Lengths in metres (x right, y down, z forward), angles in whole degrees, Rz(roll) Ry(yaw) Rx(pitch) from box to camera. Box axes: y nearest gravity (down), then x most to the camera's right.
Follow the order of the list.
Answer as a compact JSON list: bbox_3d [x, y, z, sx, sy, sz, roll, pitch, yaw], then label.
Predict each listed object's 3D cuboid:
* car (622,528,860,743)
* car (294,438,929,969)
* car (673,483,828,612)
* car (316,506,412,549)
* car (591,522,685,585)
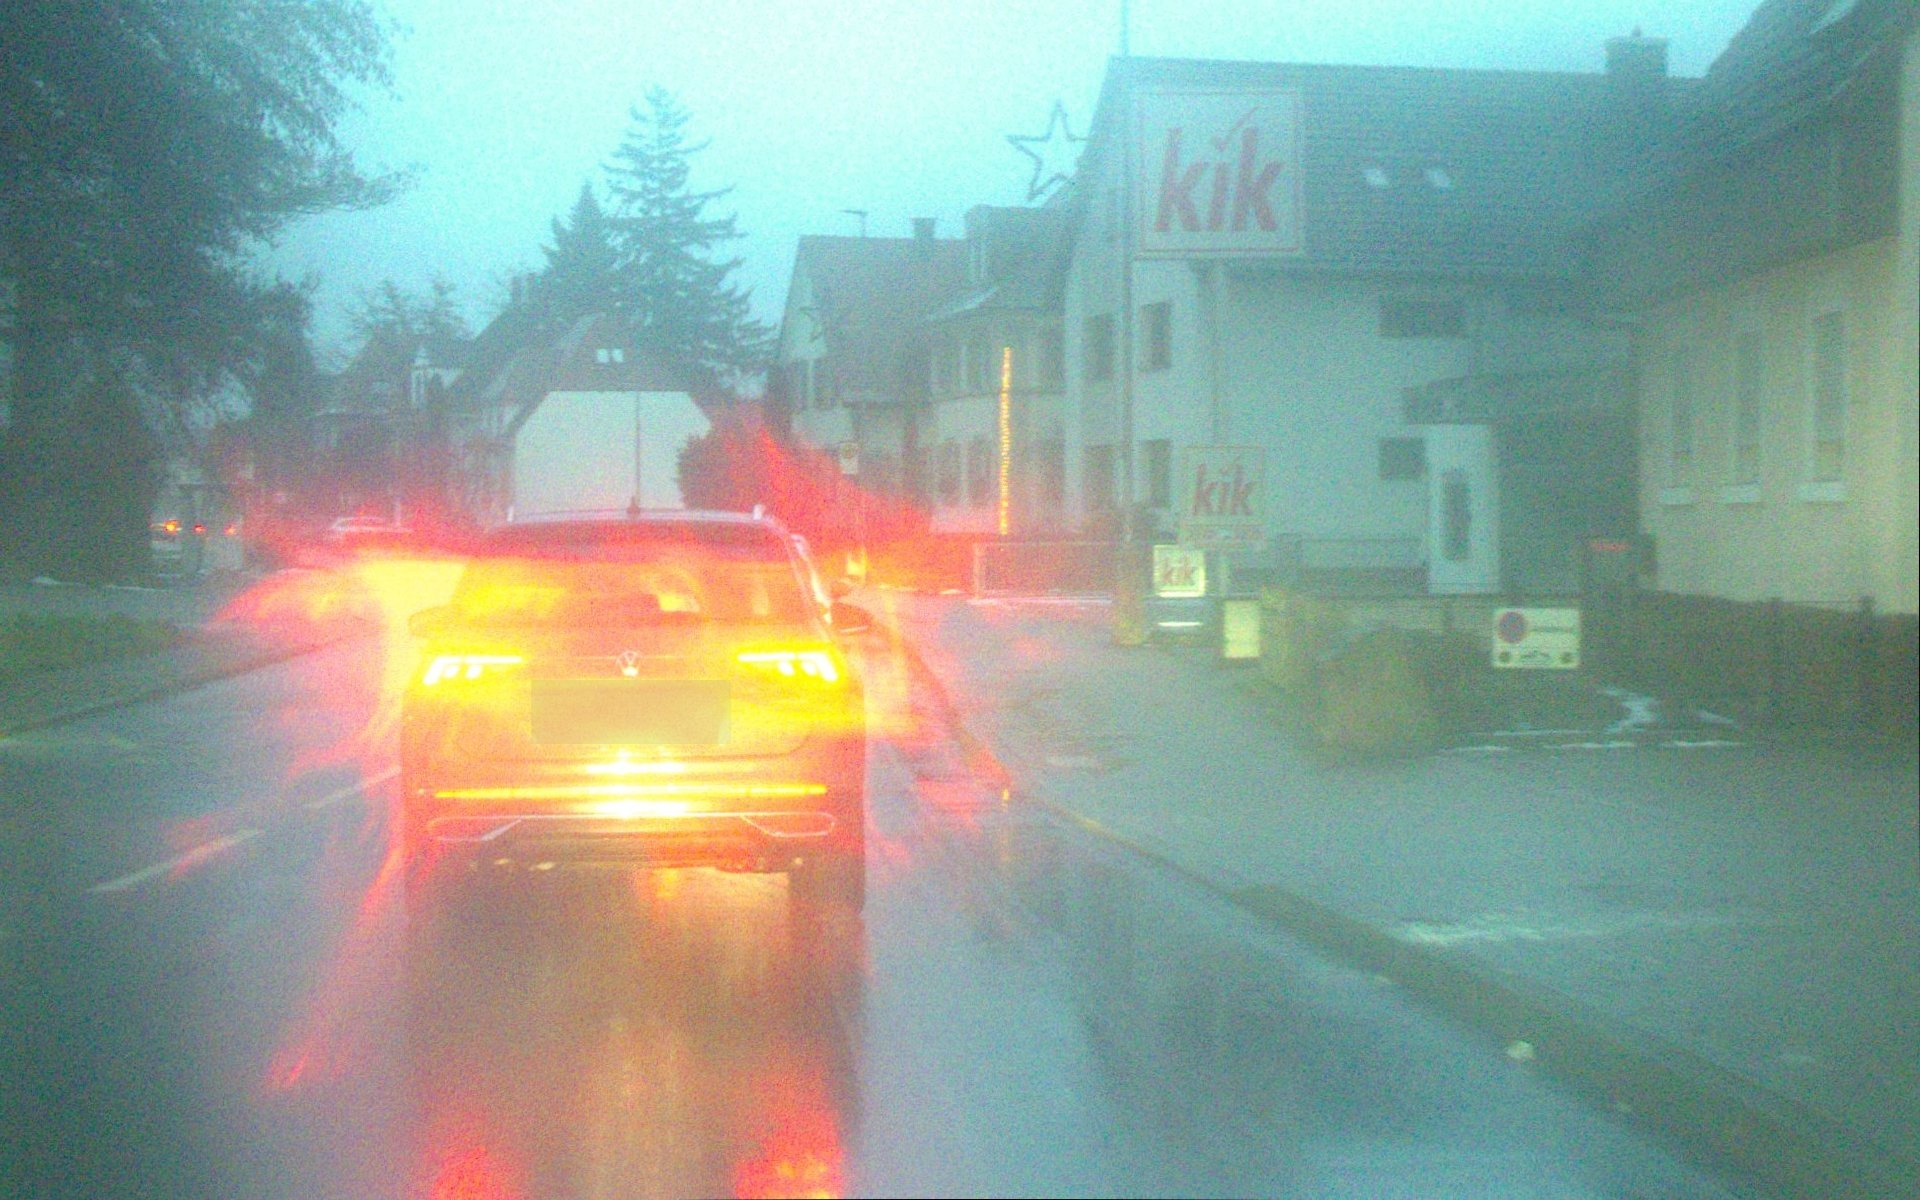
[{"bbox_3d":[-1.863,0.242,29.179,1.857,1.641,4.001,1,2,-4],"label":"car"},{"bbox_3d":[-1.479,0.335,15.104,2.309,1.932,5.019,0,1,-5],"label":"car"},{"bbox_3d":[-3.293,-0.825,54.015,2.309,1.932,5.019,0,1,-4],"label":"car"},{"bbox_3d":[-27.934,-3.404,161.128,4.245,2.007,1.811,-1,1,-16],"label":"car"},{"bbox_3d":[-7.133,-1.052,75.884,1.842,1.327,3.939,-1,2,-8],"label":"car"}]
